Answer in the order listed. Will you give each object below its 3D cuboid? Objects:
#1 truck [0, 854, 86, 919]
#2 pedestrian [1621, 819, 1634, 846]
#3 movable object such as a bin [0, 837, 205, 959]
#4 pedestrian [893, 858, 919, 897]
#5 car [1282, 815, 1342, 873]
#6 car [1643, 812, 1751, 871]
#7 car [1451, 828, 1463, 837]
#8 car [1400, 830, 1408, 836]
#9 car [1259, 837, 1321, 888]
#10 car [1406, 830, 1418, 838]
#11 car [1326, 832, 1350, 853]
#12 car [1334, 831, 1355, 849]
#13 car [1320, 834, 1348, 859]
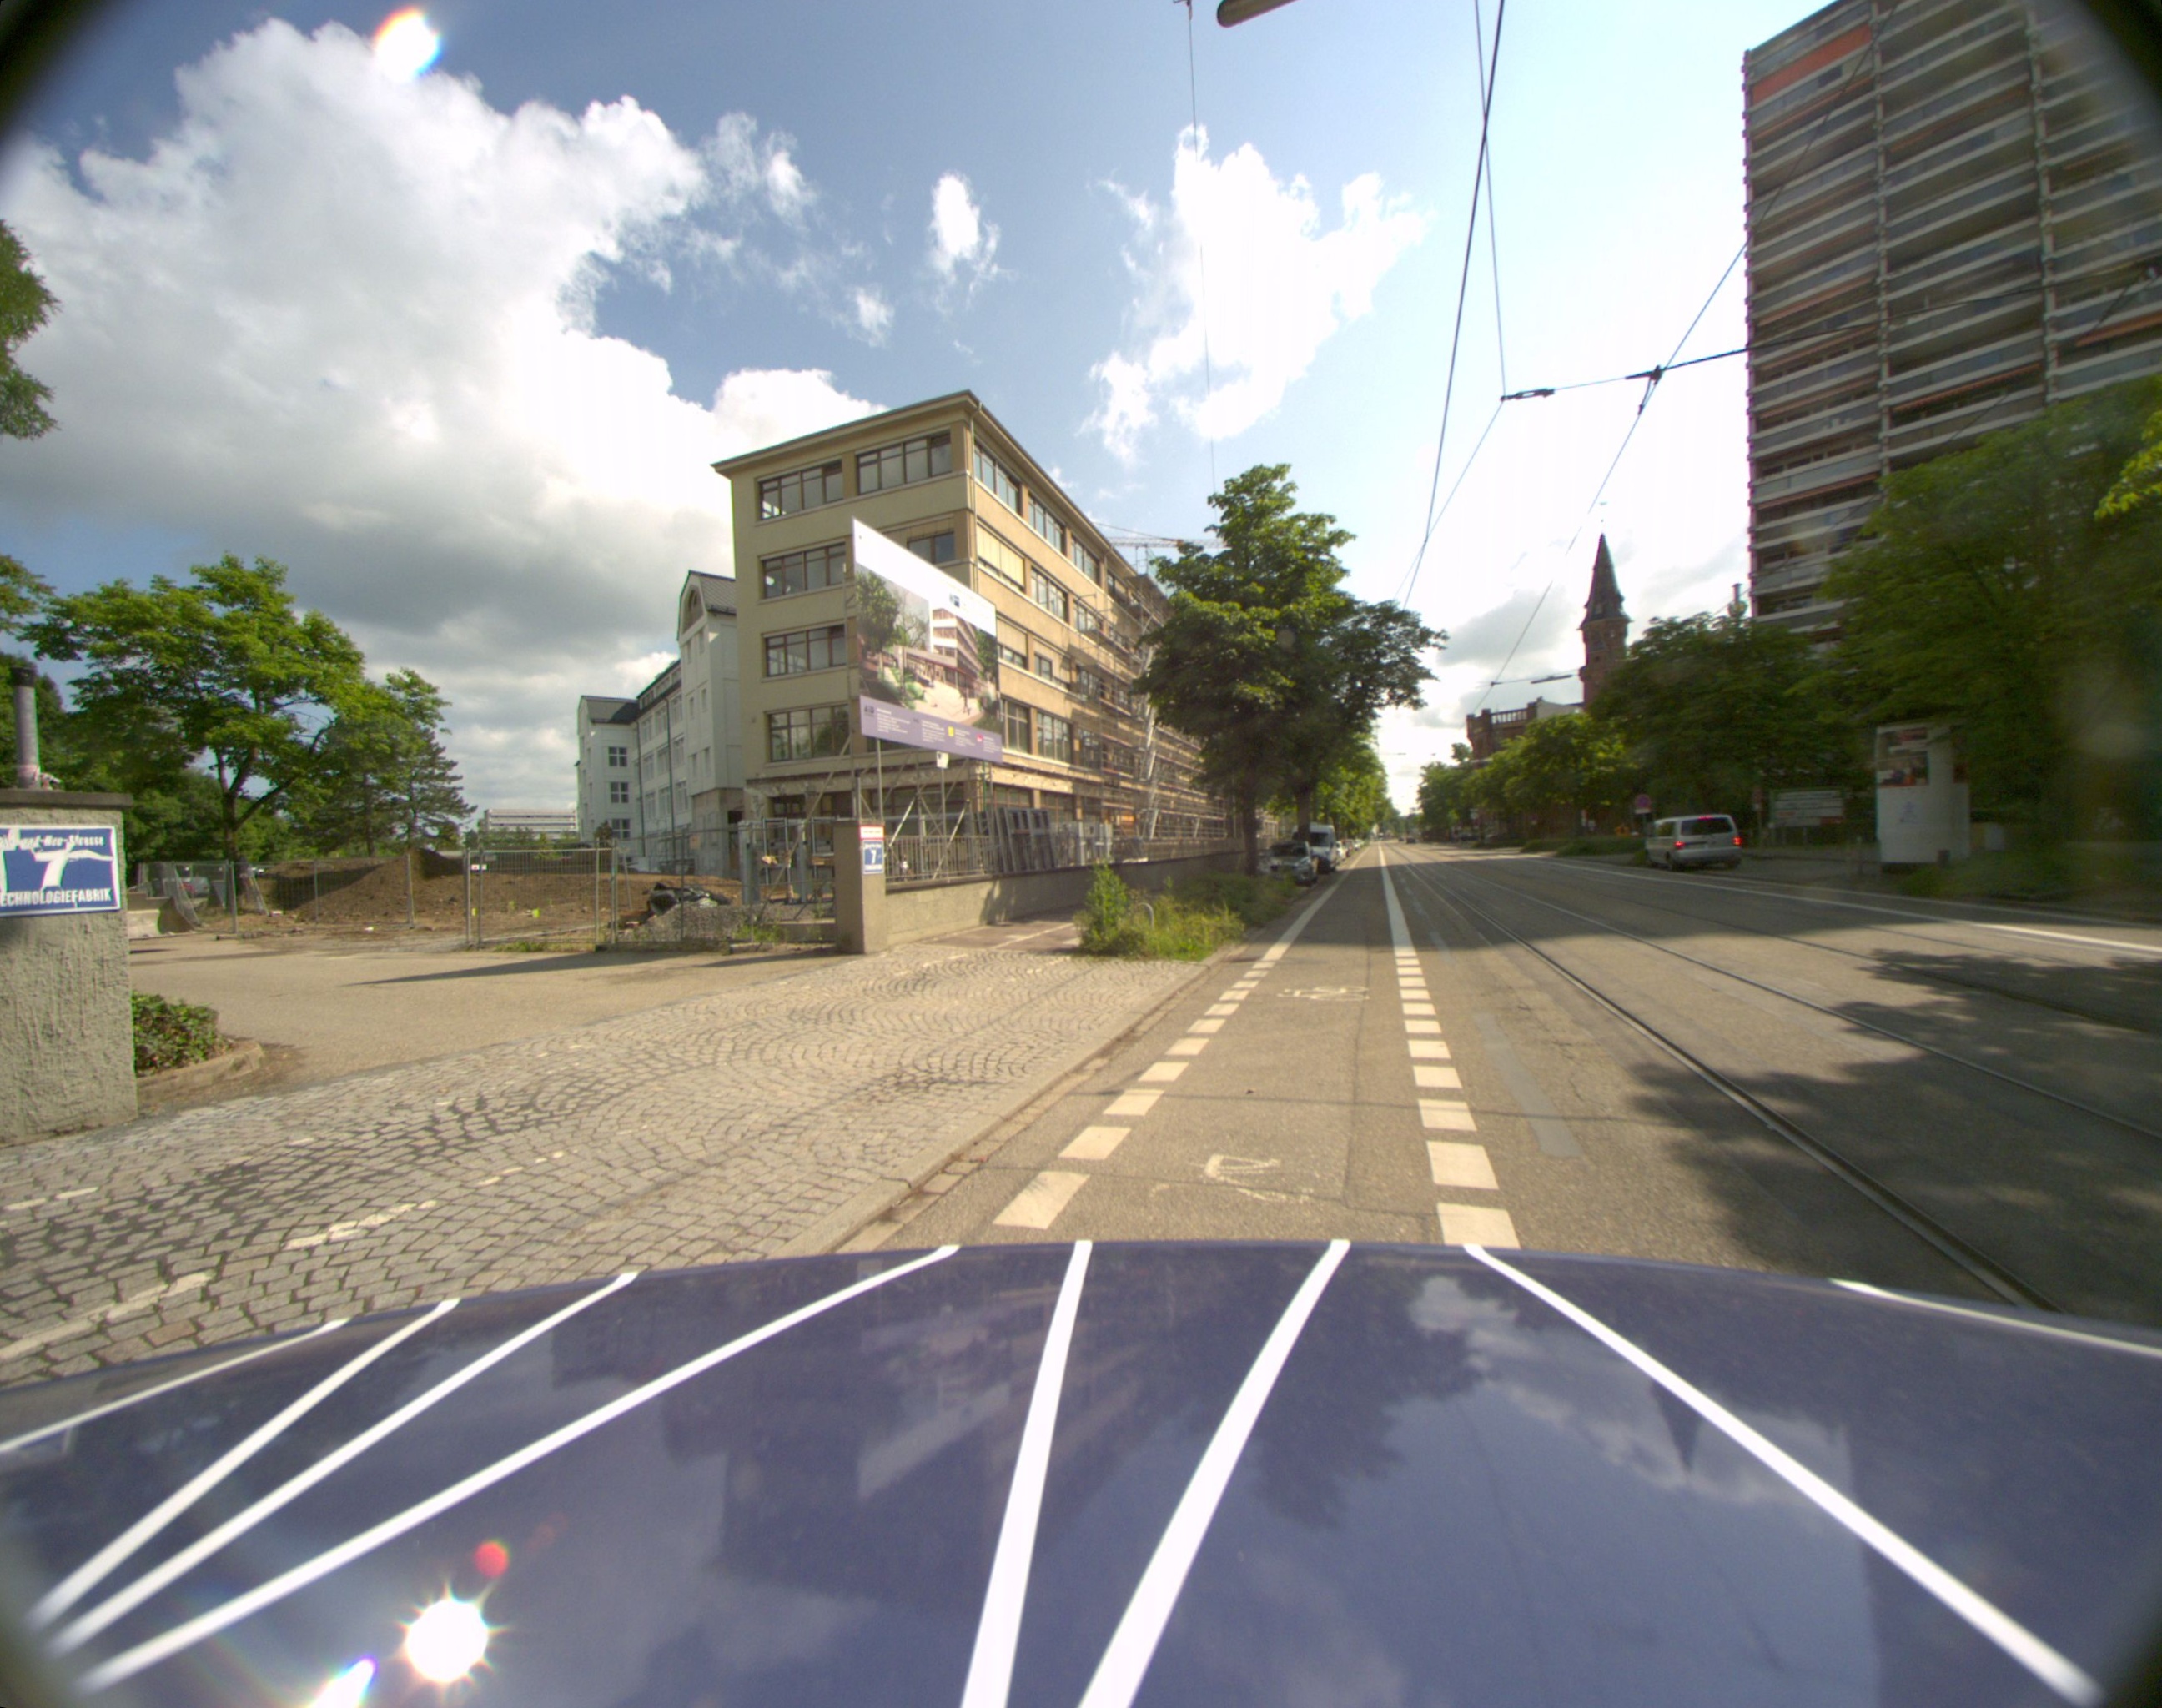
[{"bbox_3d":[-49.314,1.499,33.426,1.994,2.762,6.570,1,2,35],"label":"truck"},{"bbox_3d":[35.855,-1.430,49.867,0.462,1.745,0.534,-4,3,15],"label":"pedestrian"},{"bbox_3d":[-22.589,0.906,16.673,5.424,2.429,2.002,0,0,12],"label":"movable object such as a bin"},{"bbox_3d":[-6.091,0.808,26.468,0.634,1.306,0.463,-3,3,33],"label":"pedestrian"},{"bbox_3d":[11.640,-0.543,37.982,2.334,2.545,5.397,-5,0,21],"label":"car"},{"bbox_3d":[22.432,-0.499,27.869,1.889,1.840,4.242,-5,0,23],"label":"car"},{"bbox_3d":[66.126,-3.724,133.639,1.626,1.565,3.957,1,3,22],"label":"car"},{"bbox_3d":[99.053,-6.455,232.909,1.889,1.635,4.241,-2,1,20],"label":"car"},{"bbox_3d":[7.850,0.255,28.296,1.748,1.597,4.241,-5,0,21],"label":"car"},{"bbox_3d":[68.814,-4.142,158.070,1.889,1.635,4.241,-2,1,20],"label":"car"},{"bbox_3d":[22.465,-1.036,66.261,1.748,1.597,4.241,-5,0,21],"label":"car"},{"bbox_3d":[26.477,-1.436,76.203,1.748,1.597,4.241,-5,0,21],"label":"car"},{"bbox_3d":[18.811,-0.602,56.399,1.748,1.597,4.241,-5,0,21],"label":"car"}]
